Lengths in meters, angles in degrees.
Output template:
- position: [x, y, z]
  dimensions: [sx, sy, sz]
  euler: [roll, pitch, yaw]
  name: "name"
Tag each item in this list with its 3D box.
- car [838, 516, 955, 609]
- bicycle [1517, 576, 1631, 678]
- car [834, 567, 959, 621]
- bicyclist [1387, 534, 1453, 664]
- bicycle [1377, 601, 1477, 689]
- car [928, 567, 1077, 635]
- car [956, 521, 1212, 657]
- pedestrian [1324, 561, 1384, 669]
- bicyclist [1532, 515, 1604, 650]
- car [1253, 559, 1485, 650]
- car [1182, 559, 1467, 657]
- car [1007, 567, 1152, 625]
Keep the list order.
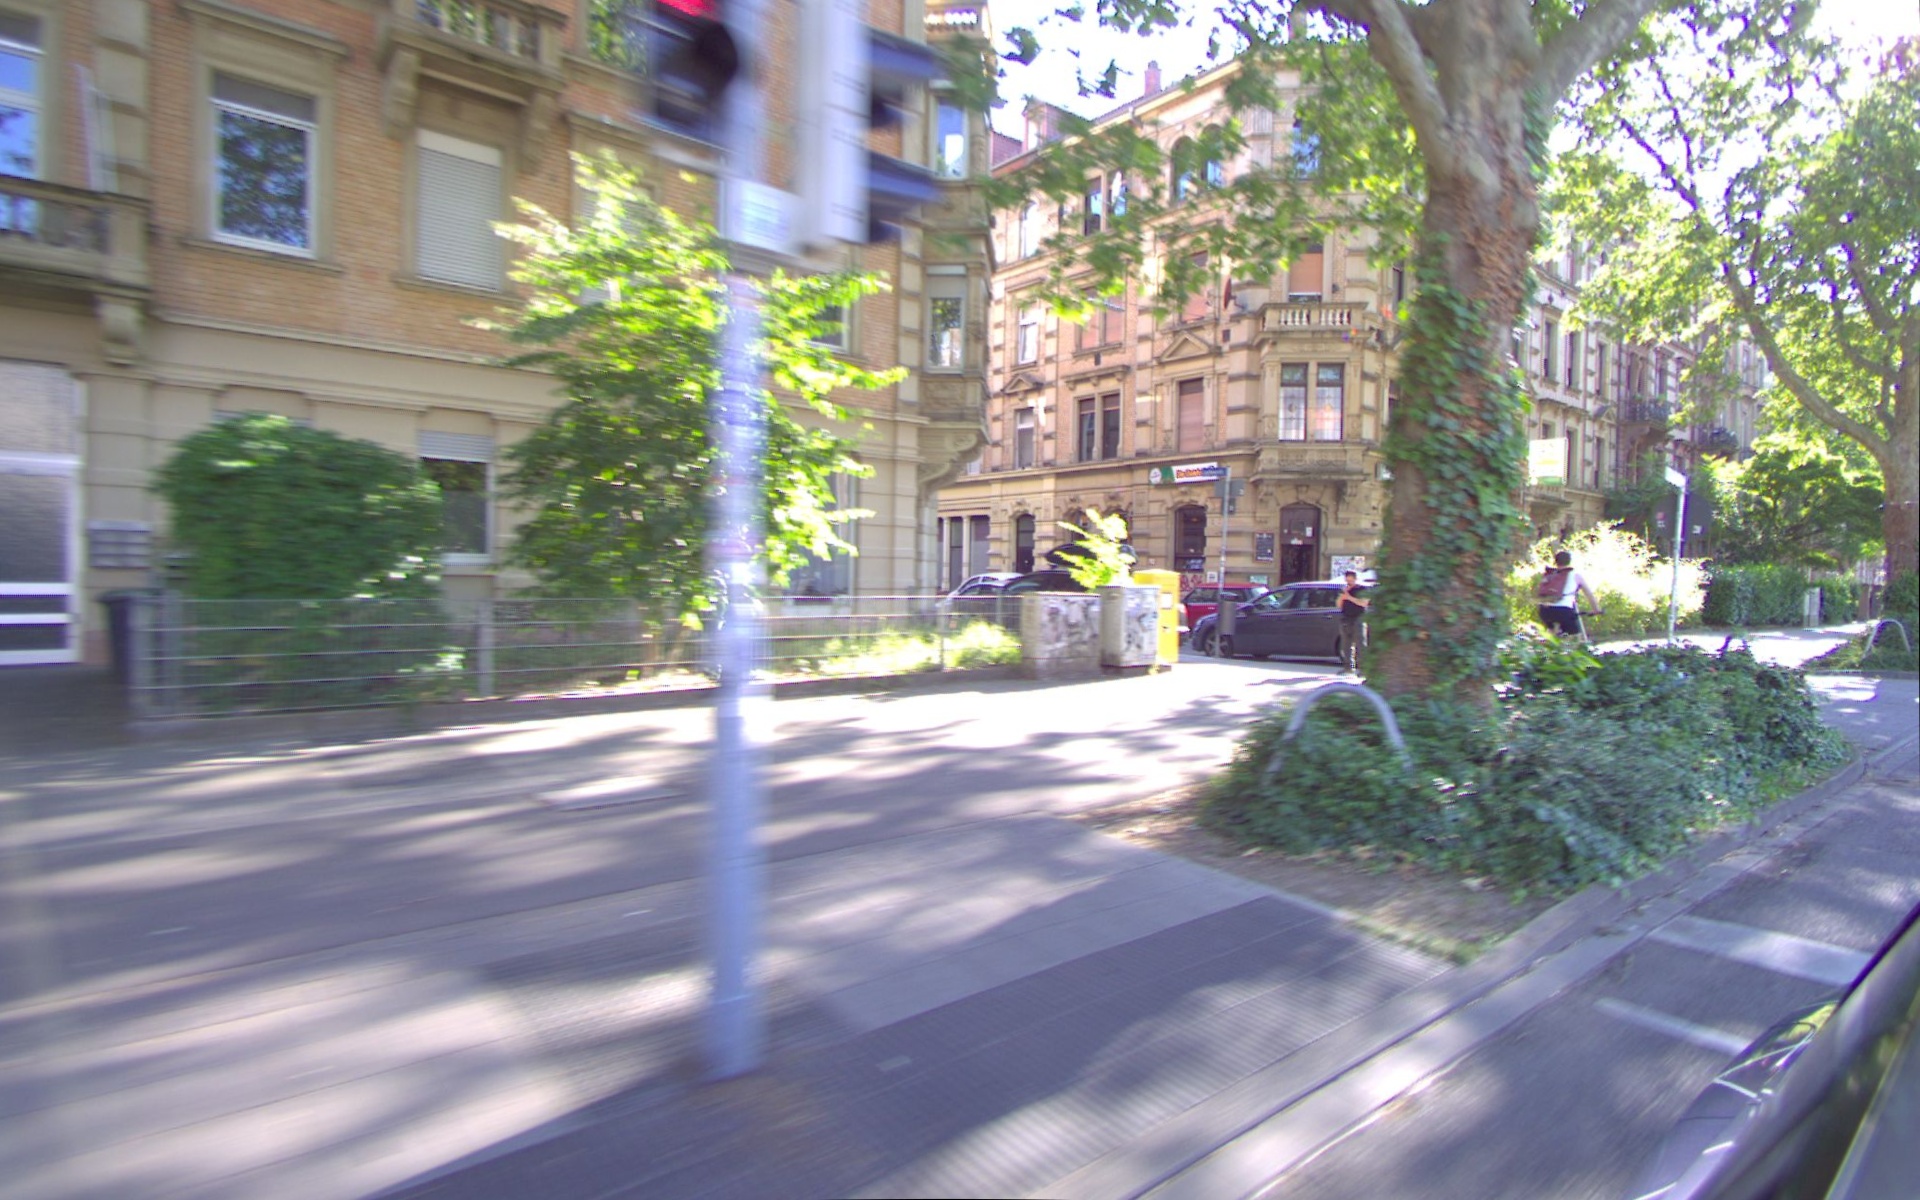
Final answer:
- position: [-2.448, -1.393, 37.770]
  dimensions: [1.873, 3.241, 4.886]
  euler: [-1, 2, -39]
  name: "car"
- position: [7.846, 0.349, 12.883]
  dimensions: [2.187, 1.193, 0.562]
  euler: [2, 0, -41]
  name: "bicycle"
- position: [-1.913, -0.225, 29.598]
  dimensions: [1.723, 1.437, 3.817]
  euler: [-1, 2, -40]
  name: "car"
- position: [6.015, -0.025, 13.225]
  dimensions: [0.543, 1.645, 0.634]
  euler: [4, 2, 44]
  name: "bicyclist"
- position: [6.215, 0.556, 13.416]
  dimensions: [0.561, 1.050, 1.902]
  euler: [5, 3, 43]
  name: "bicycle"
- position: [0.987, -0.038, 25.508]
  dimensions: [1.721, 1.563, 3.820]
  euler: [-1, 2, -37]
  name: "car"
- position: [2.015, -0.222, 17.348]
  dimensions: [1.965, 2.039, 3.995]
  euler: [4, 0, -41]
  name: "car"
- position: [5.868, 0.221, 15.071]
  dimensions: [0.596, 1.569, 0.540]
  euler: [3, 0, -40]
  name: "pedestrian"
- position: [7.607, -0.214, 12.653]
  dimensions: [0.633, 1.646, 0.544]
  euler: [2, 0, -41]
  name: "bicyclist"
- position: [9.199, 0.020, 23.097]
  dimensions: [1.873, 1.869, 4.558]
  euler: [-1, 2, -39]
  name: "car"
- position: [6.470, 0.188, 18.415]
  dimensions: [1.874, 1.559, 4.555]
  euler: [2, -2, -40]
  name: "car"
- position: [3.506, -0.167, 30.277]
  dimensions: [1.873, 1.581, 4.180]
  euler: [-1, 2, -39]
  name: "car"
